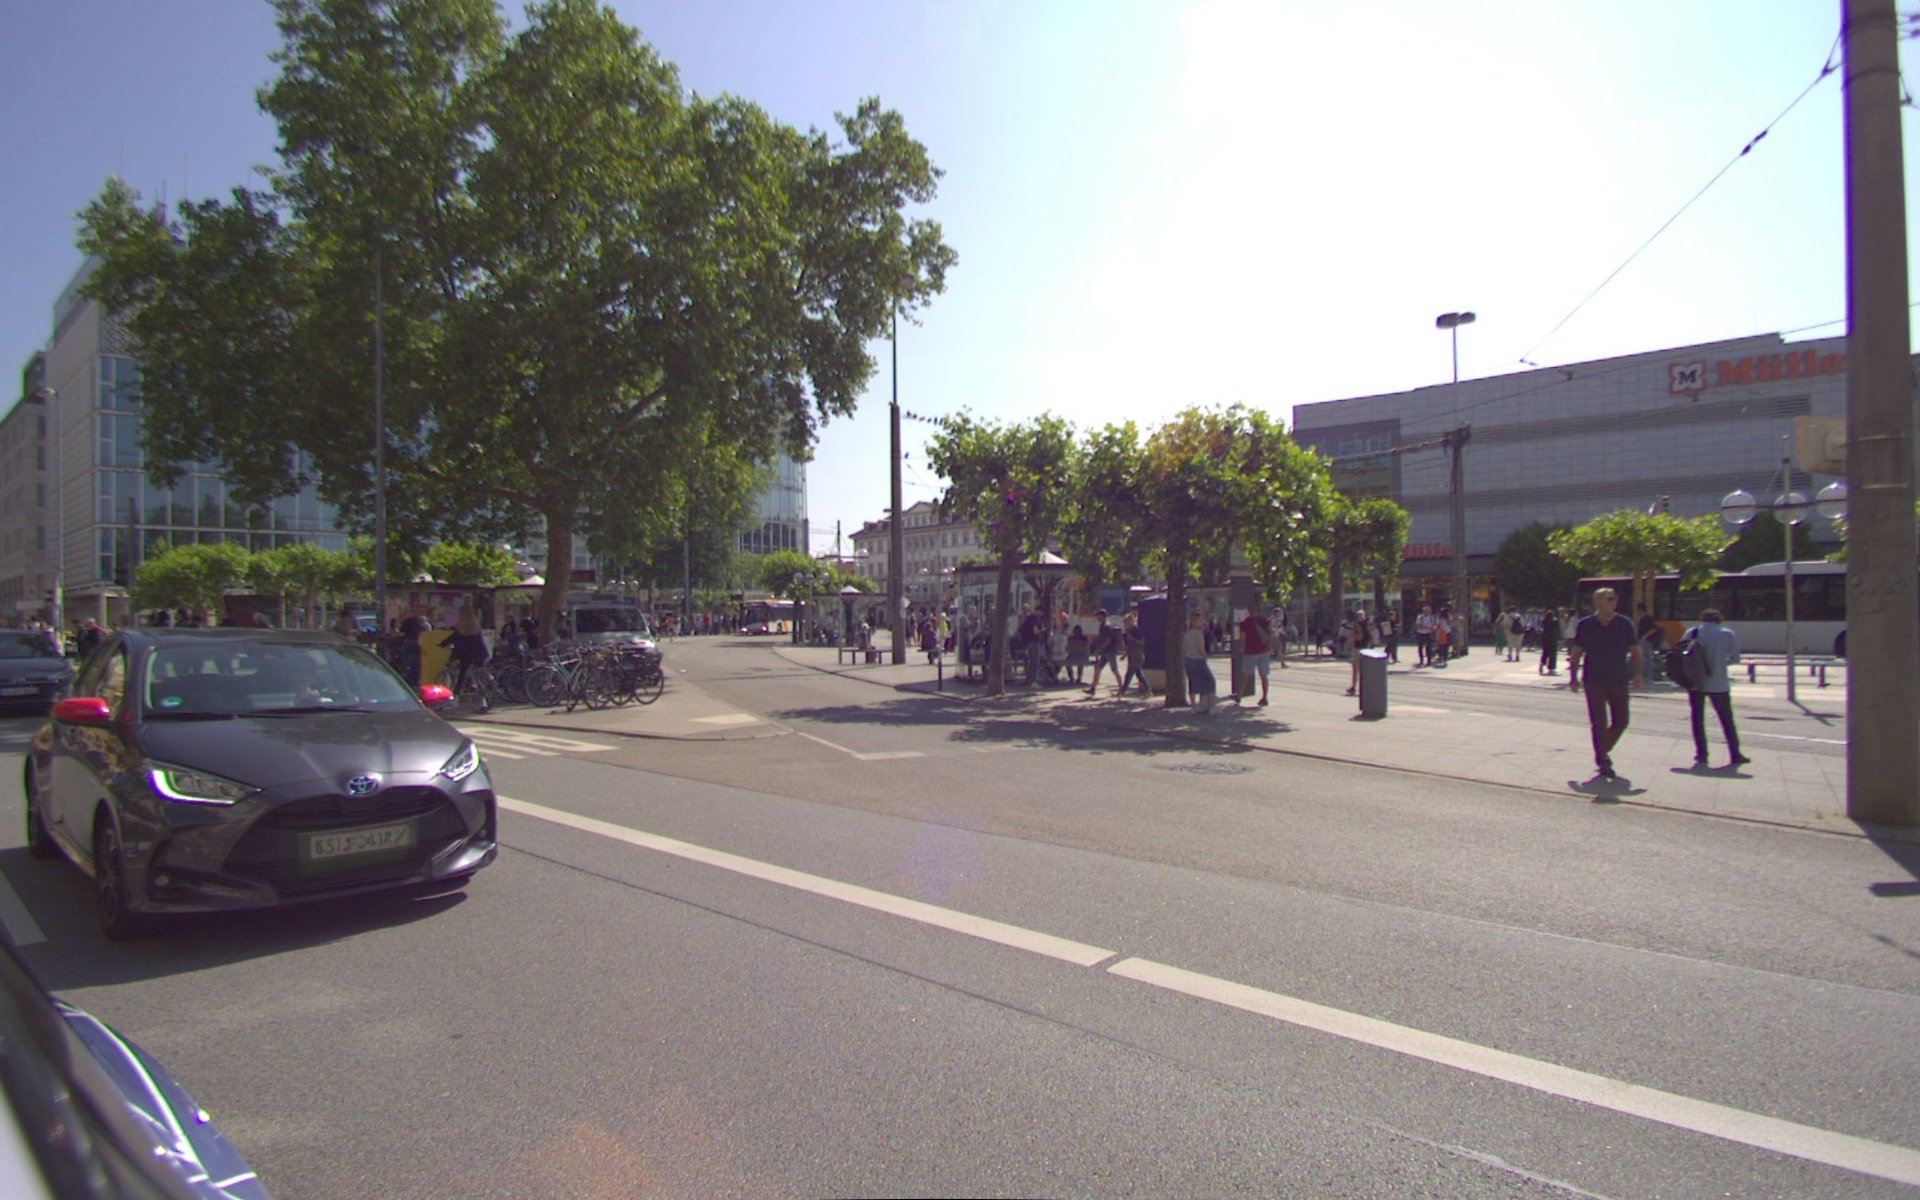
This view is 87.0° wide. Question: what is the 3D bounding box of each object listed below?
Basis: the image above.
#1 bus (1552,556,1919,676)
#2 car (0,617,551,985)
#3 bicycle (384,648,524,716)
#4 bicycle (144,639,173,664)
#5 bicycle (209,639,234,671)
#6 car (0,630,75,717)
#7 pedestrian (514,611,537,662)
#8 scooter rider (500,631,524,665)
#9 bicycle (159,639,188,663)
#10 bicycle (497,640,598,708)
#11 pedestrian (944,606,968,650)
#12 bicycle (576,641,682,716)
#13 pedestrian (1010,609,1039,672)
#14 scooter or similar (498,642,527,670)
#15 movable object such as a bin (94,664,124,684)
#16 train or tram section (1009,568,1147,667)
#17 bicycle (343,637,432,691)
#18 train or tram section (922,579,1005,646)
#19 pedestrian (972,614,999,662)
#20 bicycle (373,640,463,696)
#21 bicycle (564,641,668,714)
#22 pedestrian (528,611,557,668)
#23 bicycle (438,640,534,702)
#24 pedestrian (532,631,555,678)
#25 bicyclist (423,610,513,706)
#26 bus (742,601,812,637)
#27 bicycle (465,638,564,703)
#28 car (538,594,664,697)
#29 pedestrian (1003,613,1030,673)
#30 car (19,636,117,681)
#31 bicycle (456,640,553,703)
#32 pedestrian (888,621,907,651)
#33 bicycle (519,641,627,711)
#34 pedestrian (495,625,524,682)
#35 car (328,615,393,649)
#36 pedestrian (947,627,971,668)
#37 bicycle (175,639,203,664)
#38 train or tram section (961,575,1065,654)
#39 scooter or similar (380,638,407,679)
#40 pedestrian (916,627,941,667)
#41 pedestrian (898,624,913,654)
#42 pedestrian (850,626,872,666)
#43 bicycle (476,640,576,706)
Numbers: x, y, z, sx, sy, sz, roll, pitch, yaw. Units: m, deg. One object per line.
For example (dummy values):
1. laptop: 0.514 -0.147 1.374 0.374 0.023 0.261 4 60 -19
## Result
1. bus: 26.734 0.455 33.376 3.014 3.445 12.498 -2 0 -30
2. car: -4.320 0.876 6.083 3.996 1.486 1.759 -1 -3 40
3. bicycle: -8.550 1.352 17.055 2.616 1.030 0.823 -2 0 31
4. bicycle: -38.658 2.471 48.809 1.753 1.156 0.586 -2 -1 34
5. bicycle: -28.523 2.110 39.099 0.718 1.152 1.917 -2 0 -35
6. car: -16.973 1.234 17.770 3.999 1.415 1.677 -2 -3 42
7. pedestrian: -15.039 1.250 35.019 0.547 1.740 0.492 -2 0 -42
8. scooter rider: -11.626 1.249 26.273 0.499 0.845 0.350 -2 0 -16
9. bicycle: -38.319 2.477 49.323 1.753 1.156 0.586 -2 -1 34
10. bicycle: -7.688 1.362 18.942 0.482 1.156 1.735 -2 -1 39
11. pedestrian: -0.134 1.036 36.619 0.669 1.561 0.580 2 -4 -28
12. bicycle: -5.609 1.303 17.237 0.482 1.156 1.735 -2 -1 39
13. pedestrian: 1.846 1.175 29.138 0.568 1.791 0.682 2 -4 -28
14. scooter or similar: -11.578 1.436 26.173 0.570 0.652 0.788 -2 0 -16
15. movable object such as a bin: -28.693 2.489 34.123 0.528 0.584 0.654 -2 0 39
16. train or tram section: 5.014 0.706 45.350 2.578 3.856 9.547 -2 0 -16
17. bicycle: -13.205 1.453 23.368 0.482 1.156 1.735 -2 -1 39
18. train or tram section: 0.039 0.757 64.020 2.578 3.856 9.547 -2 0 -16
19. pedestrian: 0.845 1.276 33.453 0.657 1.561 0.565 -3 -5 43
20. bicycle: -12.035 1.486 22.514 0.482 1.156 1.735 -2 -1 39
21. bicycle: -5.962 1.312 17.630 0.482 1.156 1.735 -2 -1 39
22. pedestrian: -13.298 1.248 32.235 0.611 1.760 0.532 -2 0 31
23. bicycle: -9.619 1.414 20.590 0.482 1.156 1.735 -2 -1 39
24. pedestrian: -11.329 1.478 27.562 0.493 1.215 0.461 -2 0 -16
25. bicyclist: -8.185 0.944 16.827 1.157 1.509 0.823 -2 0 32
26. bus: -16.110 1.619 90.272 2.363 2.811 12.152 -2 0 8
27. bicycle: -8.656 1.349 19.720 0.482 1.156 1.735 -2 -1 39
28. car: -8.399 0.951 23.369 1.966 2.029 5.083 -2 0 -28
29. pedestrian: 1.762 1.341 31.472 0.568 1.855 0.682 2 -4 -28
30. car: -46.762 3.038 53.158 1.968 2.029 4.008 -2 0 -9
31. bicycle: -9.063 1.401 20.191 0.482 1.156 1.735 -2 -1 39
32. pedestrian: -3.121 1.788 50.297 0.547 1.483 0.759 -2 0 -42
33. bicycle: -6.956 1.342 18.273 0.482 1.156 1.842 -2 -1 39
34. pedestrian: -11.997 1.409 26.970 0.570 1.472 0.788 -2 0 -16
35. car: -37.721 1.997 63.679 3.989 2.029 1.977 -2 0 34
36. pedestrian: -0.021 1.437 30.452 0.524 1.211 0.539 -2 -4 29
37. bicycle: -38.011 2.530 49.877 1.753 1.156 0.586 -2 -1 34
38. train or tram section: 2.661 0.726 54.798 2.578 3.856 9.547 -2 0 -16
39. scooter or similar: -16.075 1.654 28.724 0.559 1.128 0.540 -2 0 -22
40. pedestrian: -0.977 1.452 31.166 0.552 1.243 0.572 -2 -4 29
41. pedestrian: -2.776 1.987 51.411 0.547 1.483 0.457 -2 0 -42
42. pedestrian: -3.218 1.502 33.009 0.483 1.262 0.491 -2 0 39
43. bicycle: -8.249 1.359 19.298 0.482 1.156 1.735 -2 -1 39
